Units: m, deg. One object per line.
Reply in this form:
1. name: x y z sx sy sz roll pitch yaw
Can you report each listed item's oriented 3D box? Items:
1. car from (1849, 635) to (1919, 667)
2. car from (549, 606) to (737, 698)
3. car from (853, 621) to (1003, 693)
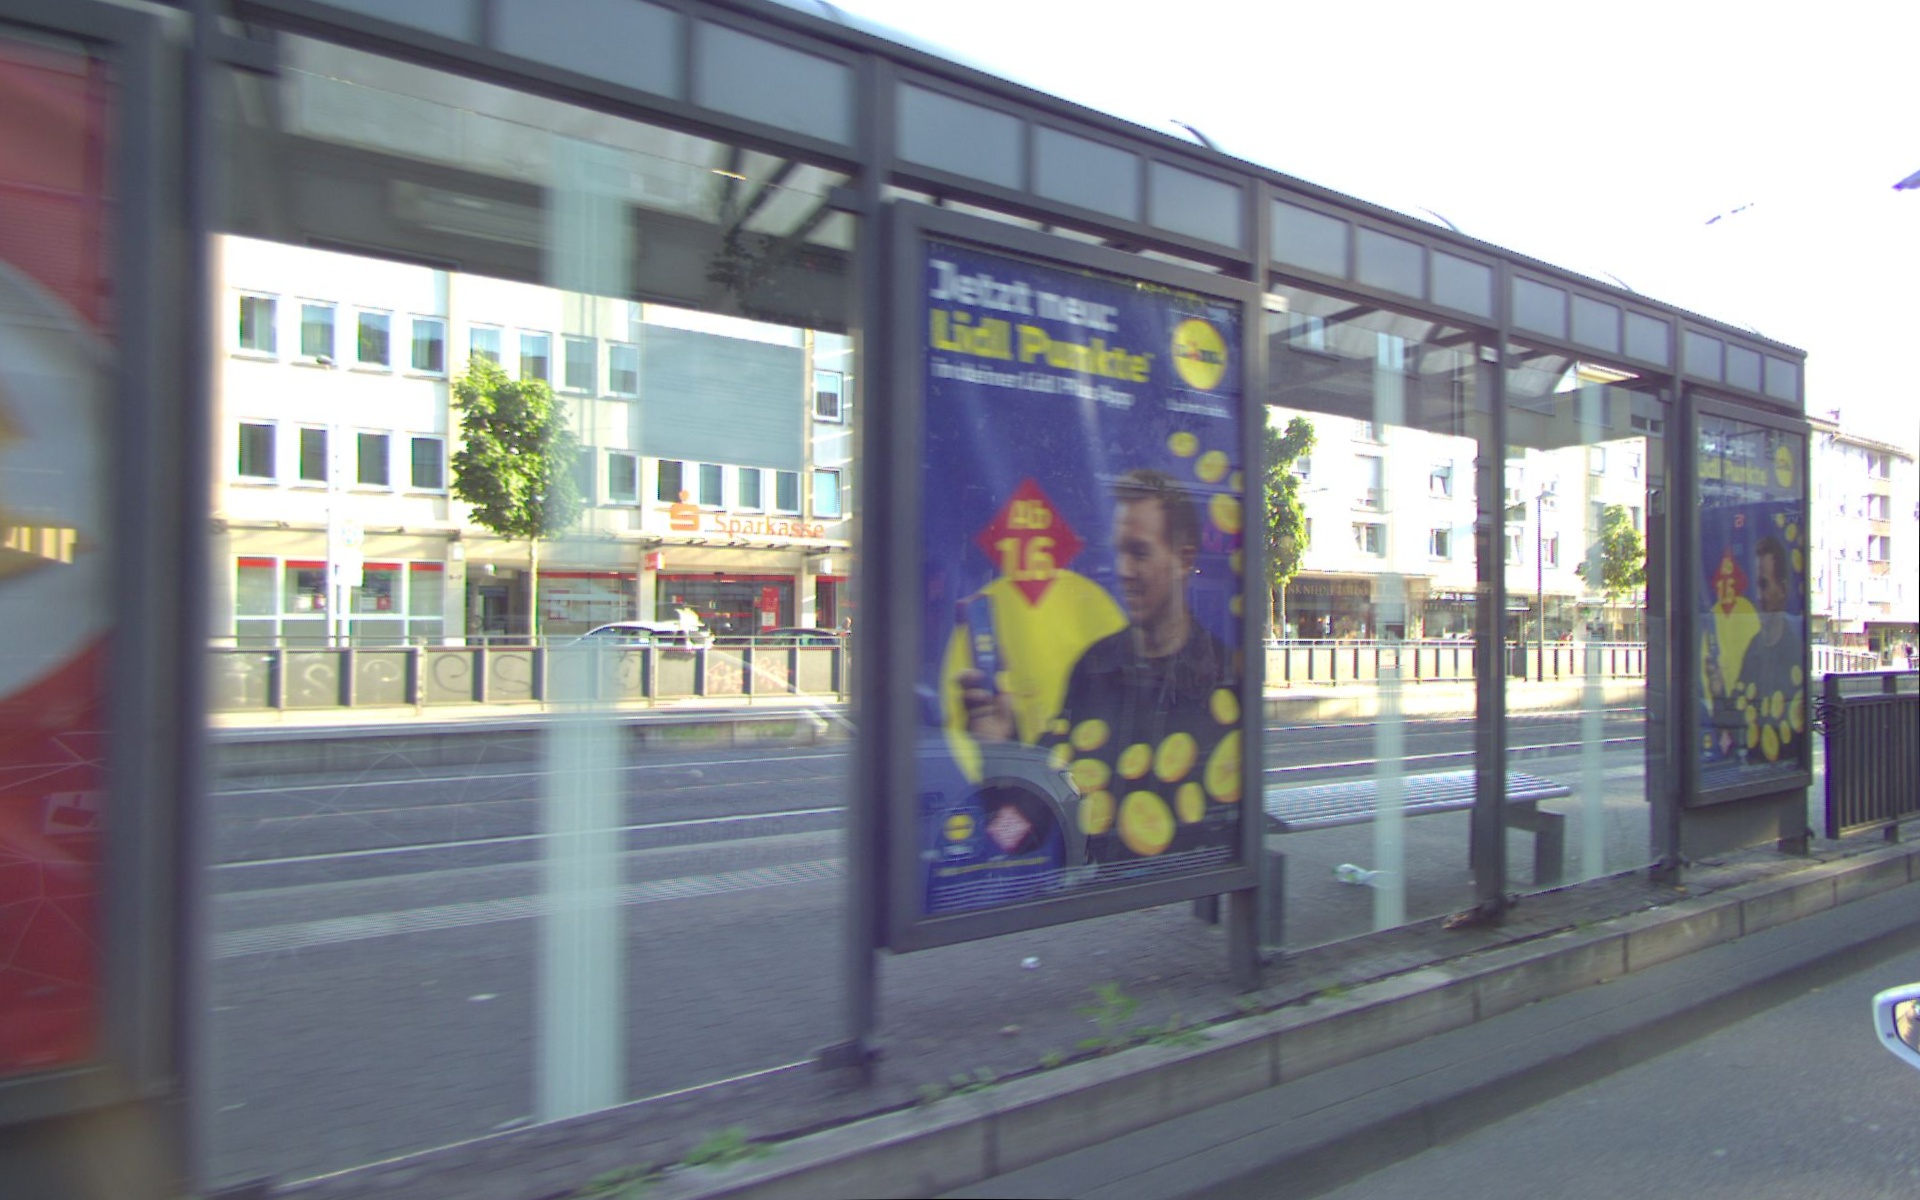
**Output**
1. car: 50.620 2.745 54.846 3.953 1.672 1.984 1 -2 -30
2. car: -6.720 1.044 21.355 3.442 1.702 1.770 2 0 21
3. car: -0.777 1.415 25.468 3.440 1.702 1.772 0 -1 15
